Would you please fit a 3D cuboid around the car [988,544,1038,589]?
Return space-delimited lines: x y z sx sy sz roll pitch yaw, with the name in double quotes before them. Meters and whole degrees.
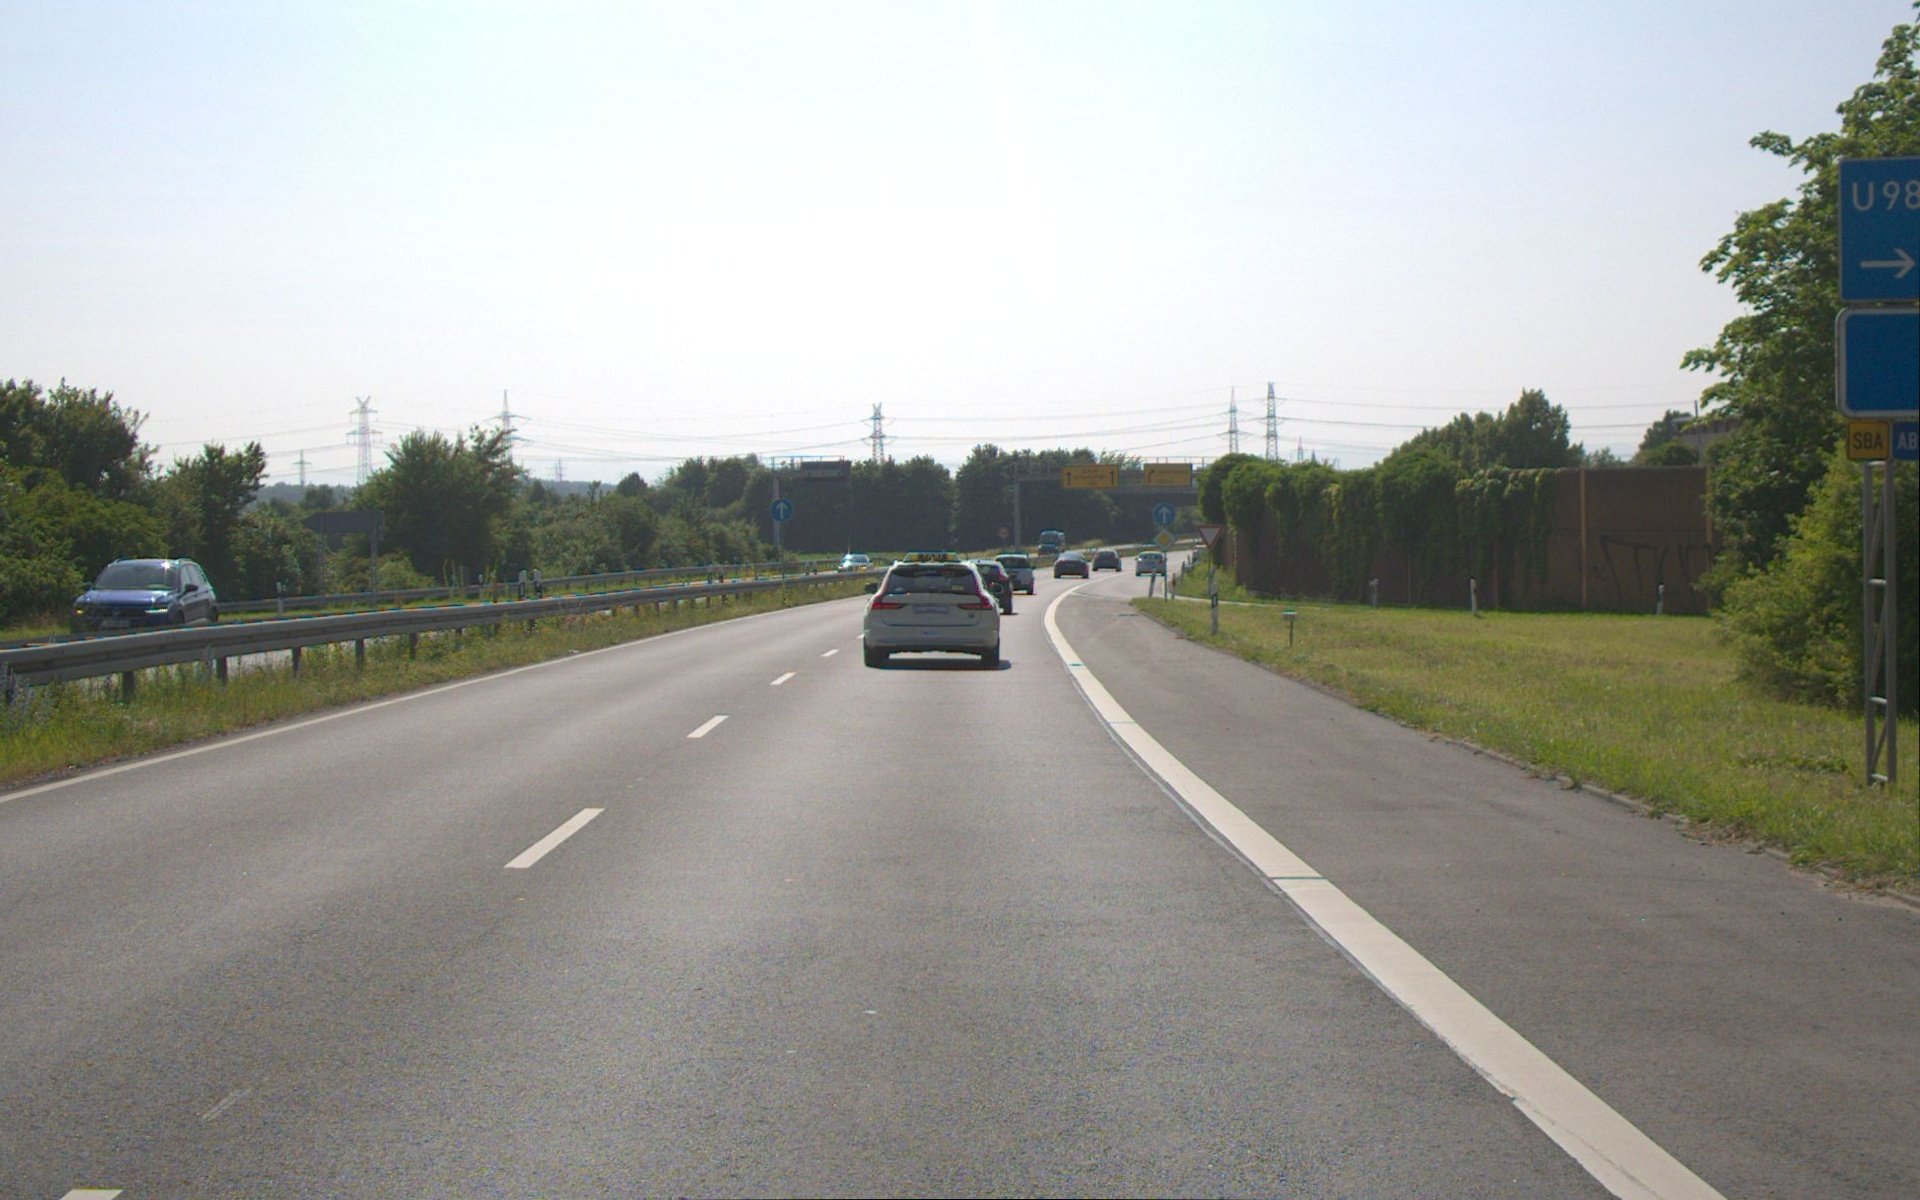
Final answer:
"car" 2.069 -1.333 134.577 1.769 1.731 3.631 0 1 4

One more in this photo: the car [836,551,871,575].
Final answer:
"car" -6.434 -2.237 208.274 1.809 1.347 4.274 1 2 2

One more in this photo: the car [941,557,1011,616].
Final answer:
"car" 0.448 -0.376 92.140 1.793 1.538 3.672 0 1 1

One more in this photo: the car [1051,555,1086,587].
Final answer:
"car" 6.156 -1.662 195.115 1.841 1.796 4.000 0 1 4

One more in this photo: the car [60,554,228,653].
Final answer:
"car" -14.580 0.037 61.640 1.993 1.600 4.274 1 2 0

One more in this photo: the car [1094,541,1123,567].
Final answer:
"car" 10.091 -3.125 233.826 1.841 1.692 3.999 0 1 4

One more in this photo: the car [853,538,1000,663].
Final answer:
"car" -0.477 -0.025 48.290 1.958 1.596 4.107 1 2 -1
